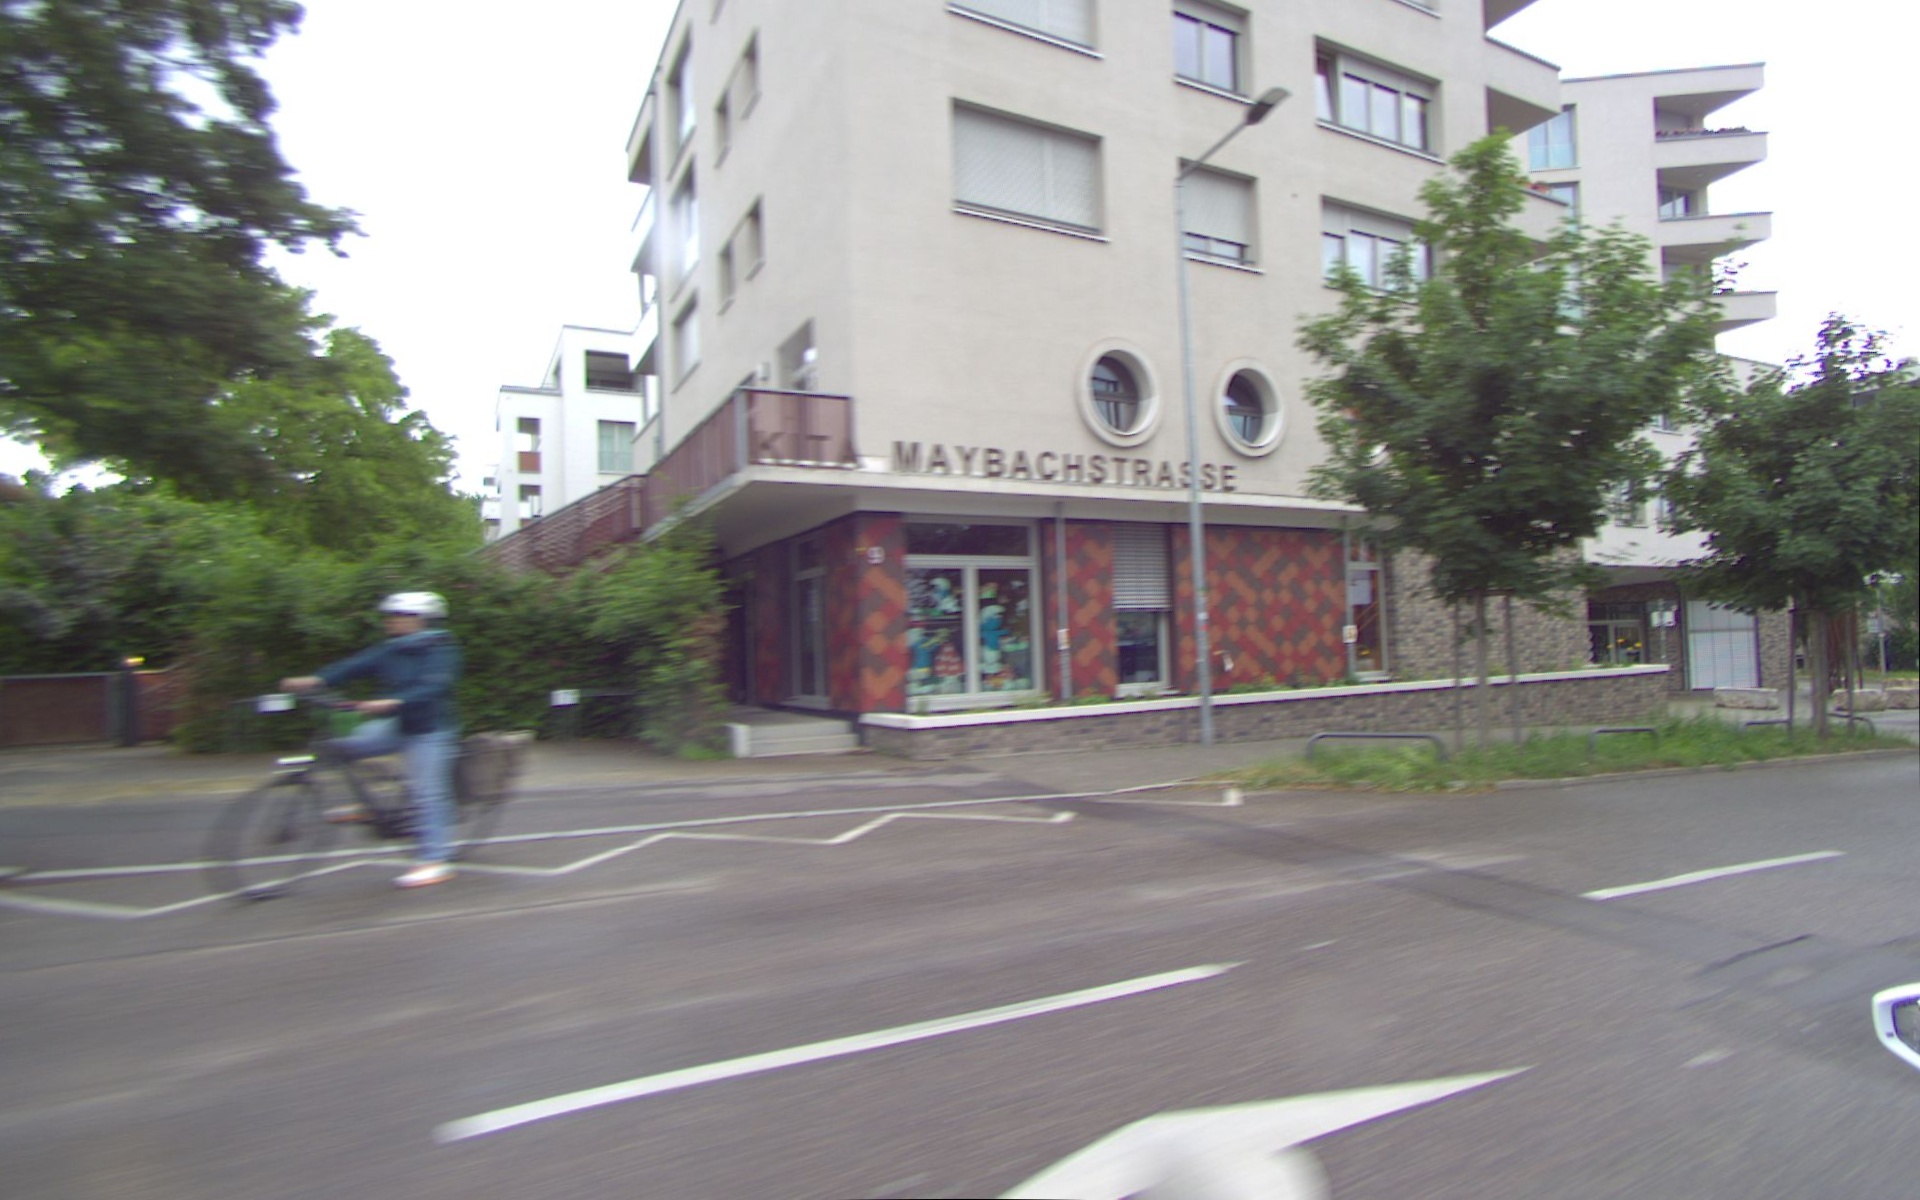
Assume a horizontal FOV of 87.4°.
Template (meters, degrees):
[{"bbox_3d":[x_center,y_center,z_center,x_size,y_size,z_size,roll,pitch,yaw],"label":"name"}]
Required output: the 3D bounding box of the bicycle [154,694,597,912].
[{"bbox_3d":[-3.421,1.120,6.191,0.790,0.992,2.252,0,-3,28],"label":"bicycle"}]

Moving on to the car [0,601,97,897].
[{"bbox_3d":[-6.725,0.685,4.619,3.802,1.482,1.871,3,-3,-30],"label":"car"}]

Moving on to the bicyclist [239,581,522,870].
[{"bbox_3d":[-3.468,0.705,6.101,0.789,1.542,1.200,0,-3,27],"label":"bicyclist"}]
